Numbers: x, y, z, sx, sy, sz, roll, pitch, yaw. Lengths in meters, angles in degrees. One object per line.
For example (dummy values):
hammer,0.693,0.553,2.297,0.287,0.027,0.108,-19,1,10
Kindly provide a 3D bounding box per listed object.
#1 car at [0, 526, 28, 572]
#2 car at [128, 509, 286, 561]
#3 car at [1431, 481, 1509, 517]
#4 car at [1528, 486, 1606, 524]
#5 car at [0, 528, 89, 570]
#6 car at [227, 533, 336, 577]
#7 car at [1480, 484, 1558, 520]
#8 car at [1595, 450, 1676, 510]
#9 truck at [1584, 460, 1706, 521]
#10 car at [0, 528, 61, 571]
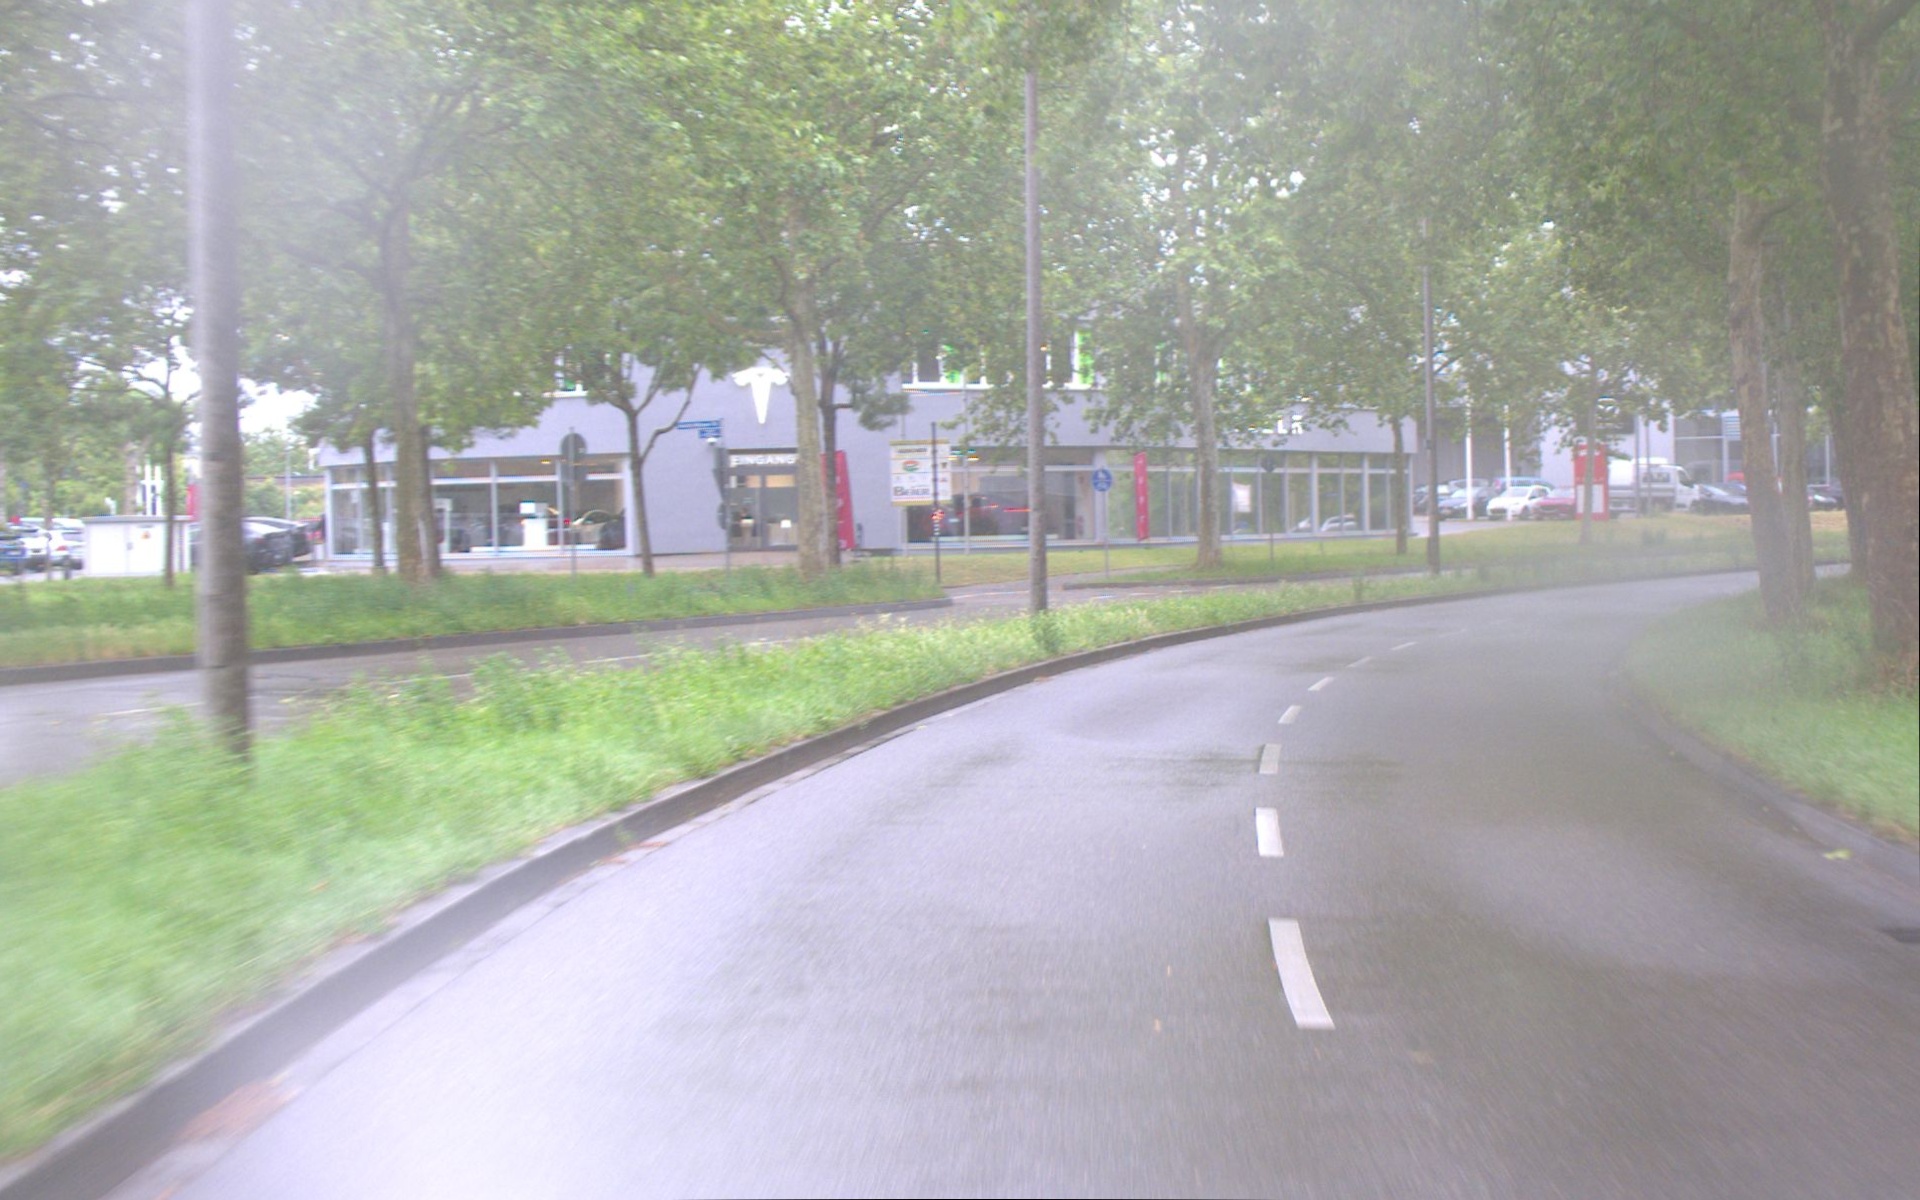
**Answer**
car,-33.192,-1.694,114.664,3.761,1.489,1.598,0,1,5
car,-21.898,-1.887,100.038,4.192,1.489,1.598,0,1,5
car,22.635,-4.485,152.532,1.766,1.392,4.149,2,5,35
car,26.308,-4.126,148.935,1.766,1.462,4.149,2,5,35
car,-33.623,-1.841,124.372,3.761,1.489,1.598,0,1,5
car,-23.190,-1.536,117.554,3.306,1.489,1.598,0,1,5
car,24.606,-4.329,151.234,1.766,1.392,4.149,2,5,35
car,32.481,-5.796,165.437,2.163,2.742,5.341,0,3,-7
truck,29.372,-4.718,147.242,2.252,2.336,6.180,5,6,42
car,-33.640,-1.783,120.609,3.761,1.489,1.598,0,1,5
